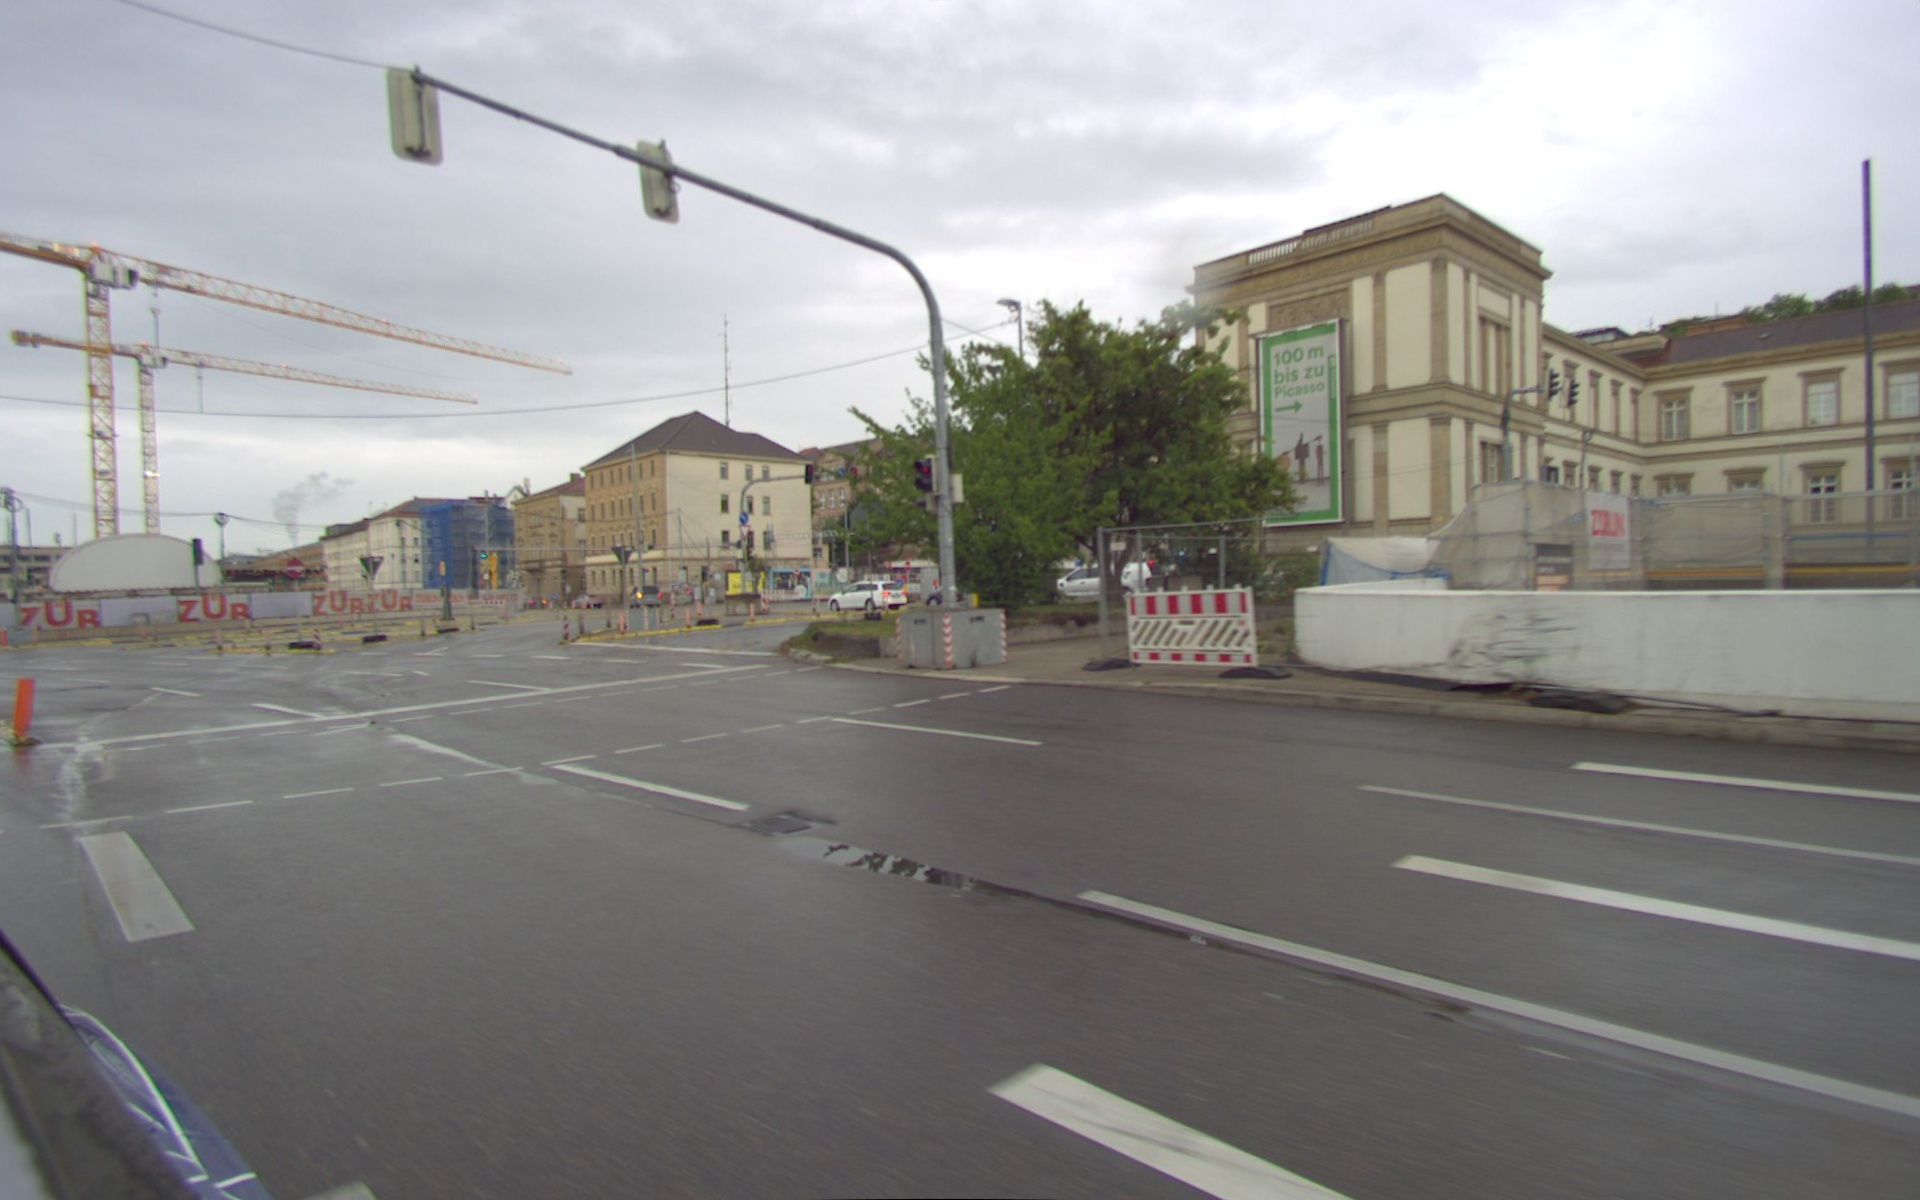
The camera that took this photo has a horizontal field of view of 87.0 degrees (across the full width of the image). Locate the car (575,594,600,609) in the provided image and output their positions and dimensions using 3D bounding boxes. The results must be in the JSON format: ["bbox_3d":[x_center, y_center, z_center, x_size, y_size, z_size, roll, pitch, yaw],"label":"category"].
[{"bbox_3d":[-38.831,0.138,105.559,1.557,1.357,3.817,-4,4,-34],"label":"car"}]

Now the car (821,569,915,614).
[{"bbox_3d":[-4.504,-0.427,49.070,4.644,2.028,1.971,1,4,45],"label":"car"}]

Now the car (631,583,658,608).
[{"bbox_3d":[-25.820,-0.423,82.700,1.966,1.852,4.698,-3,2,-18],"label":"car"}]

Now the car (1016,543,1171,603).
[{"bbox_3d":[5.332,-1.063,40.620,5.665,2.189,2.346,-1,3,33],"label":"car"}]

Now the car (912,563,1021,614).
[{"bbox_3d":[0.227,-0.515,44.416,4.693,2.028,1.971,1,4,45],"label":"car"}]
